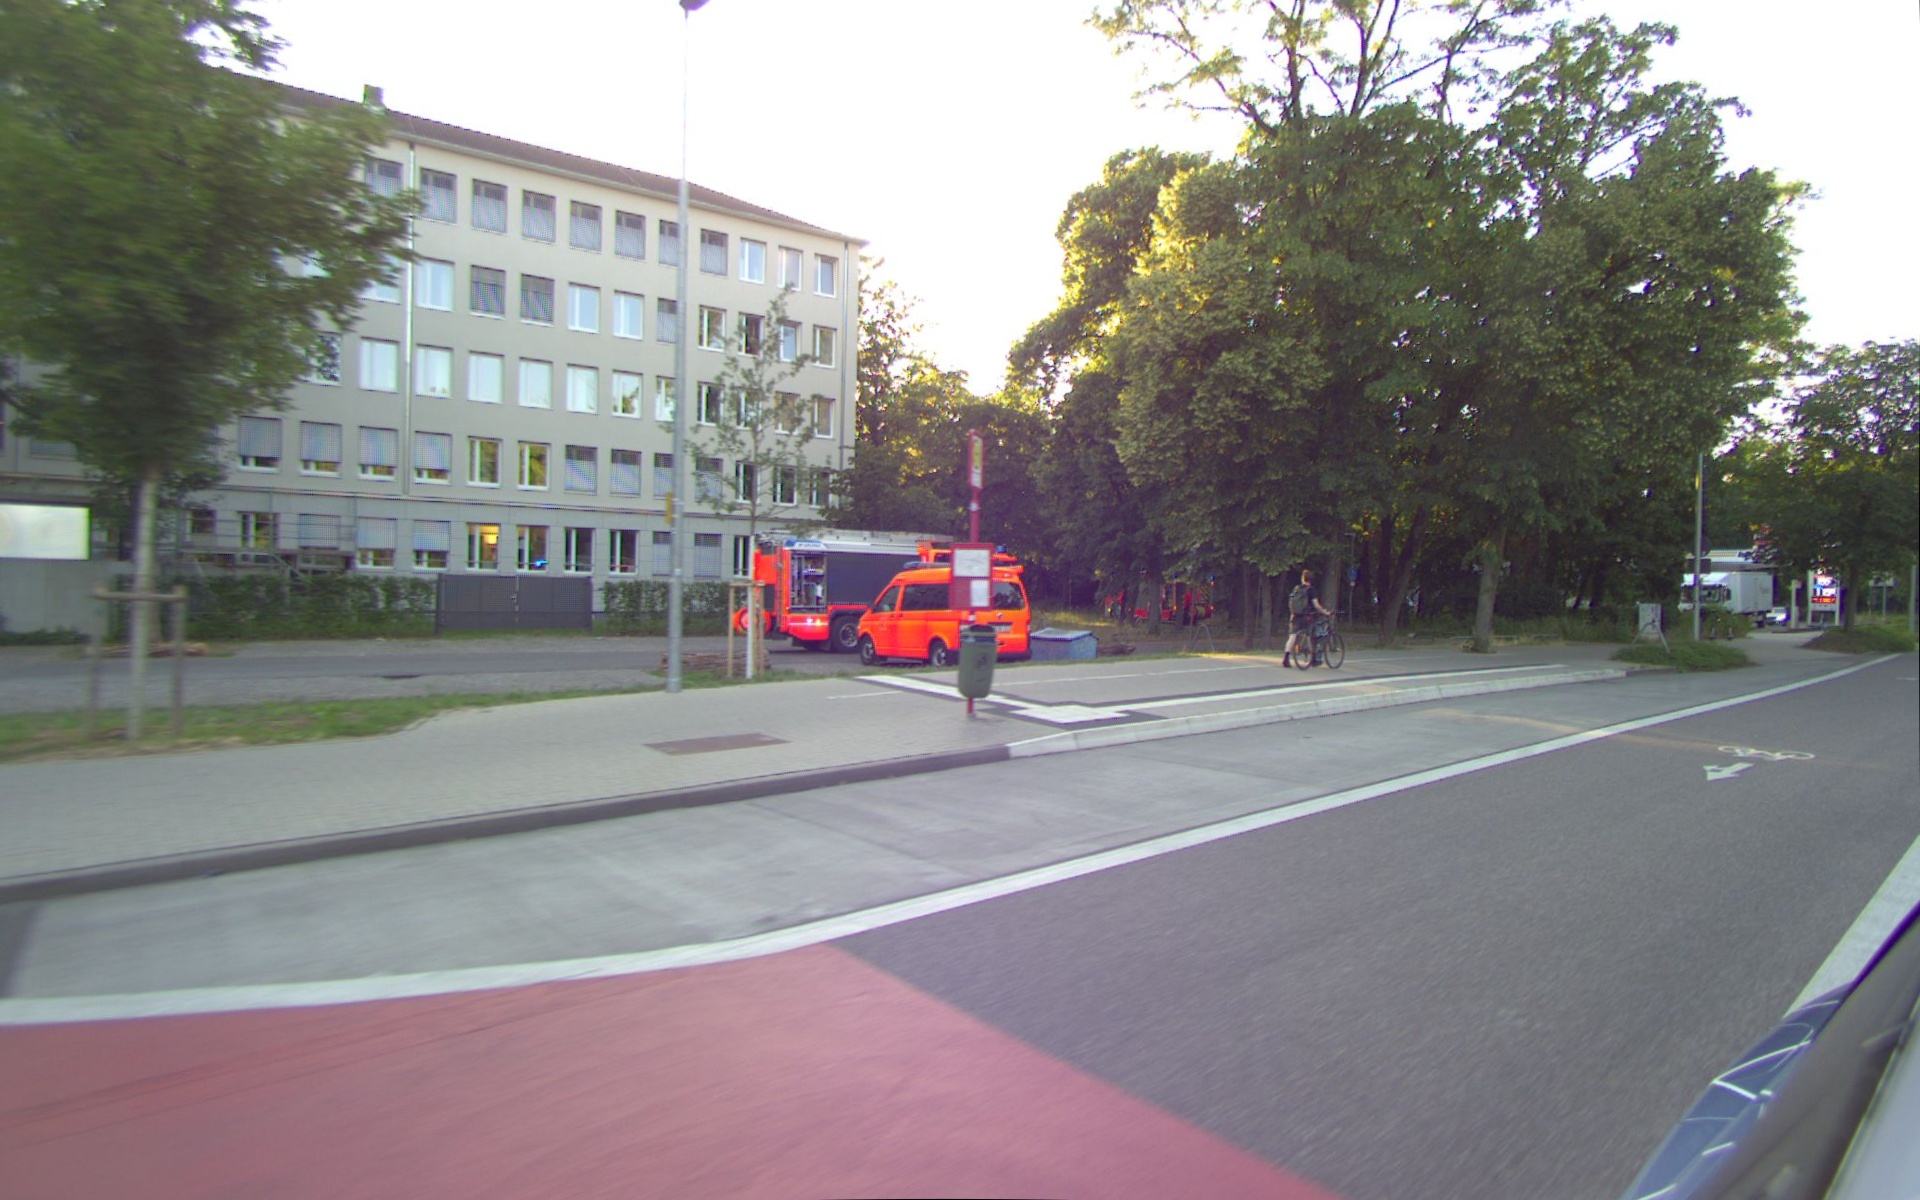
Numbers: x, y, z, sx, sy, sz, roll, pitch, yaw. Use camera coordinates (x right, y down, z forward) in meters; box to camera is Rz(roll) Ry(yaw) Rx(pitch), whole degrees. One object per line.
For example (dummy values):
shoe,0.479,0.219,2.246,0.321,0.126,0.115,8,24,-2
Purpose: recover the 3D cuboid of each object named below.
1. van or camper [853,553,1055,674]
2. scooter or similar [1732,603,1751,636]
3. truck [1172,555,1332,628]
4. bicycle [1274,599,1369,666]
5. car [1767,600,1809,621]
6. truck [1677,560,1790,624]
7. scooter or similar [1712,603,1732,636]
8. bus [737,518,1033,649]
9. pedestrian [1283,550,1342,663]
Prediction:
van or camper,-0.280,0.259,21.774,2.249,2.273,4.833,0,0,-30
scooter or similar,31.975,0.779,41.405,0.482,1.298,1.122,3,2,43
truck,14.052,-0.427,49.693,2.703,3.251,8.682,1,1,-22
bicycle,6.663,0.573,18.607,1.936,1.111,0.831,0,3,-44
car,64.619,0.821,78.921,4.632,1.611,1.995,0,0,-44
truck,50.818,-0.463,66.202,15.614,3.776,3.222,0,0,-43
scooter or similar,30.661,0.764,40.711,0.482,1.298,1.212,3,2,42
bus,-1.979,-0.395,28.377,7.807,3.237,2.999,0,0,-32
pedestrian,6.488,0.103,18.634,0.683,2.039,0.724,1,1,-41
